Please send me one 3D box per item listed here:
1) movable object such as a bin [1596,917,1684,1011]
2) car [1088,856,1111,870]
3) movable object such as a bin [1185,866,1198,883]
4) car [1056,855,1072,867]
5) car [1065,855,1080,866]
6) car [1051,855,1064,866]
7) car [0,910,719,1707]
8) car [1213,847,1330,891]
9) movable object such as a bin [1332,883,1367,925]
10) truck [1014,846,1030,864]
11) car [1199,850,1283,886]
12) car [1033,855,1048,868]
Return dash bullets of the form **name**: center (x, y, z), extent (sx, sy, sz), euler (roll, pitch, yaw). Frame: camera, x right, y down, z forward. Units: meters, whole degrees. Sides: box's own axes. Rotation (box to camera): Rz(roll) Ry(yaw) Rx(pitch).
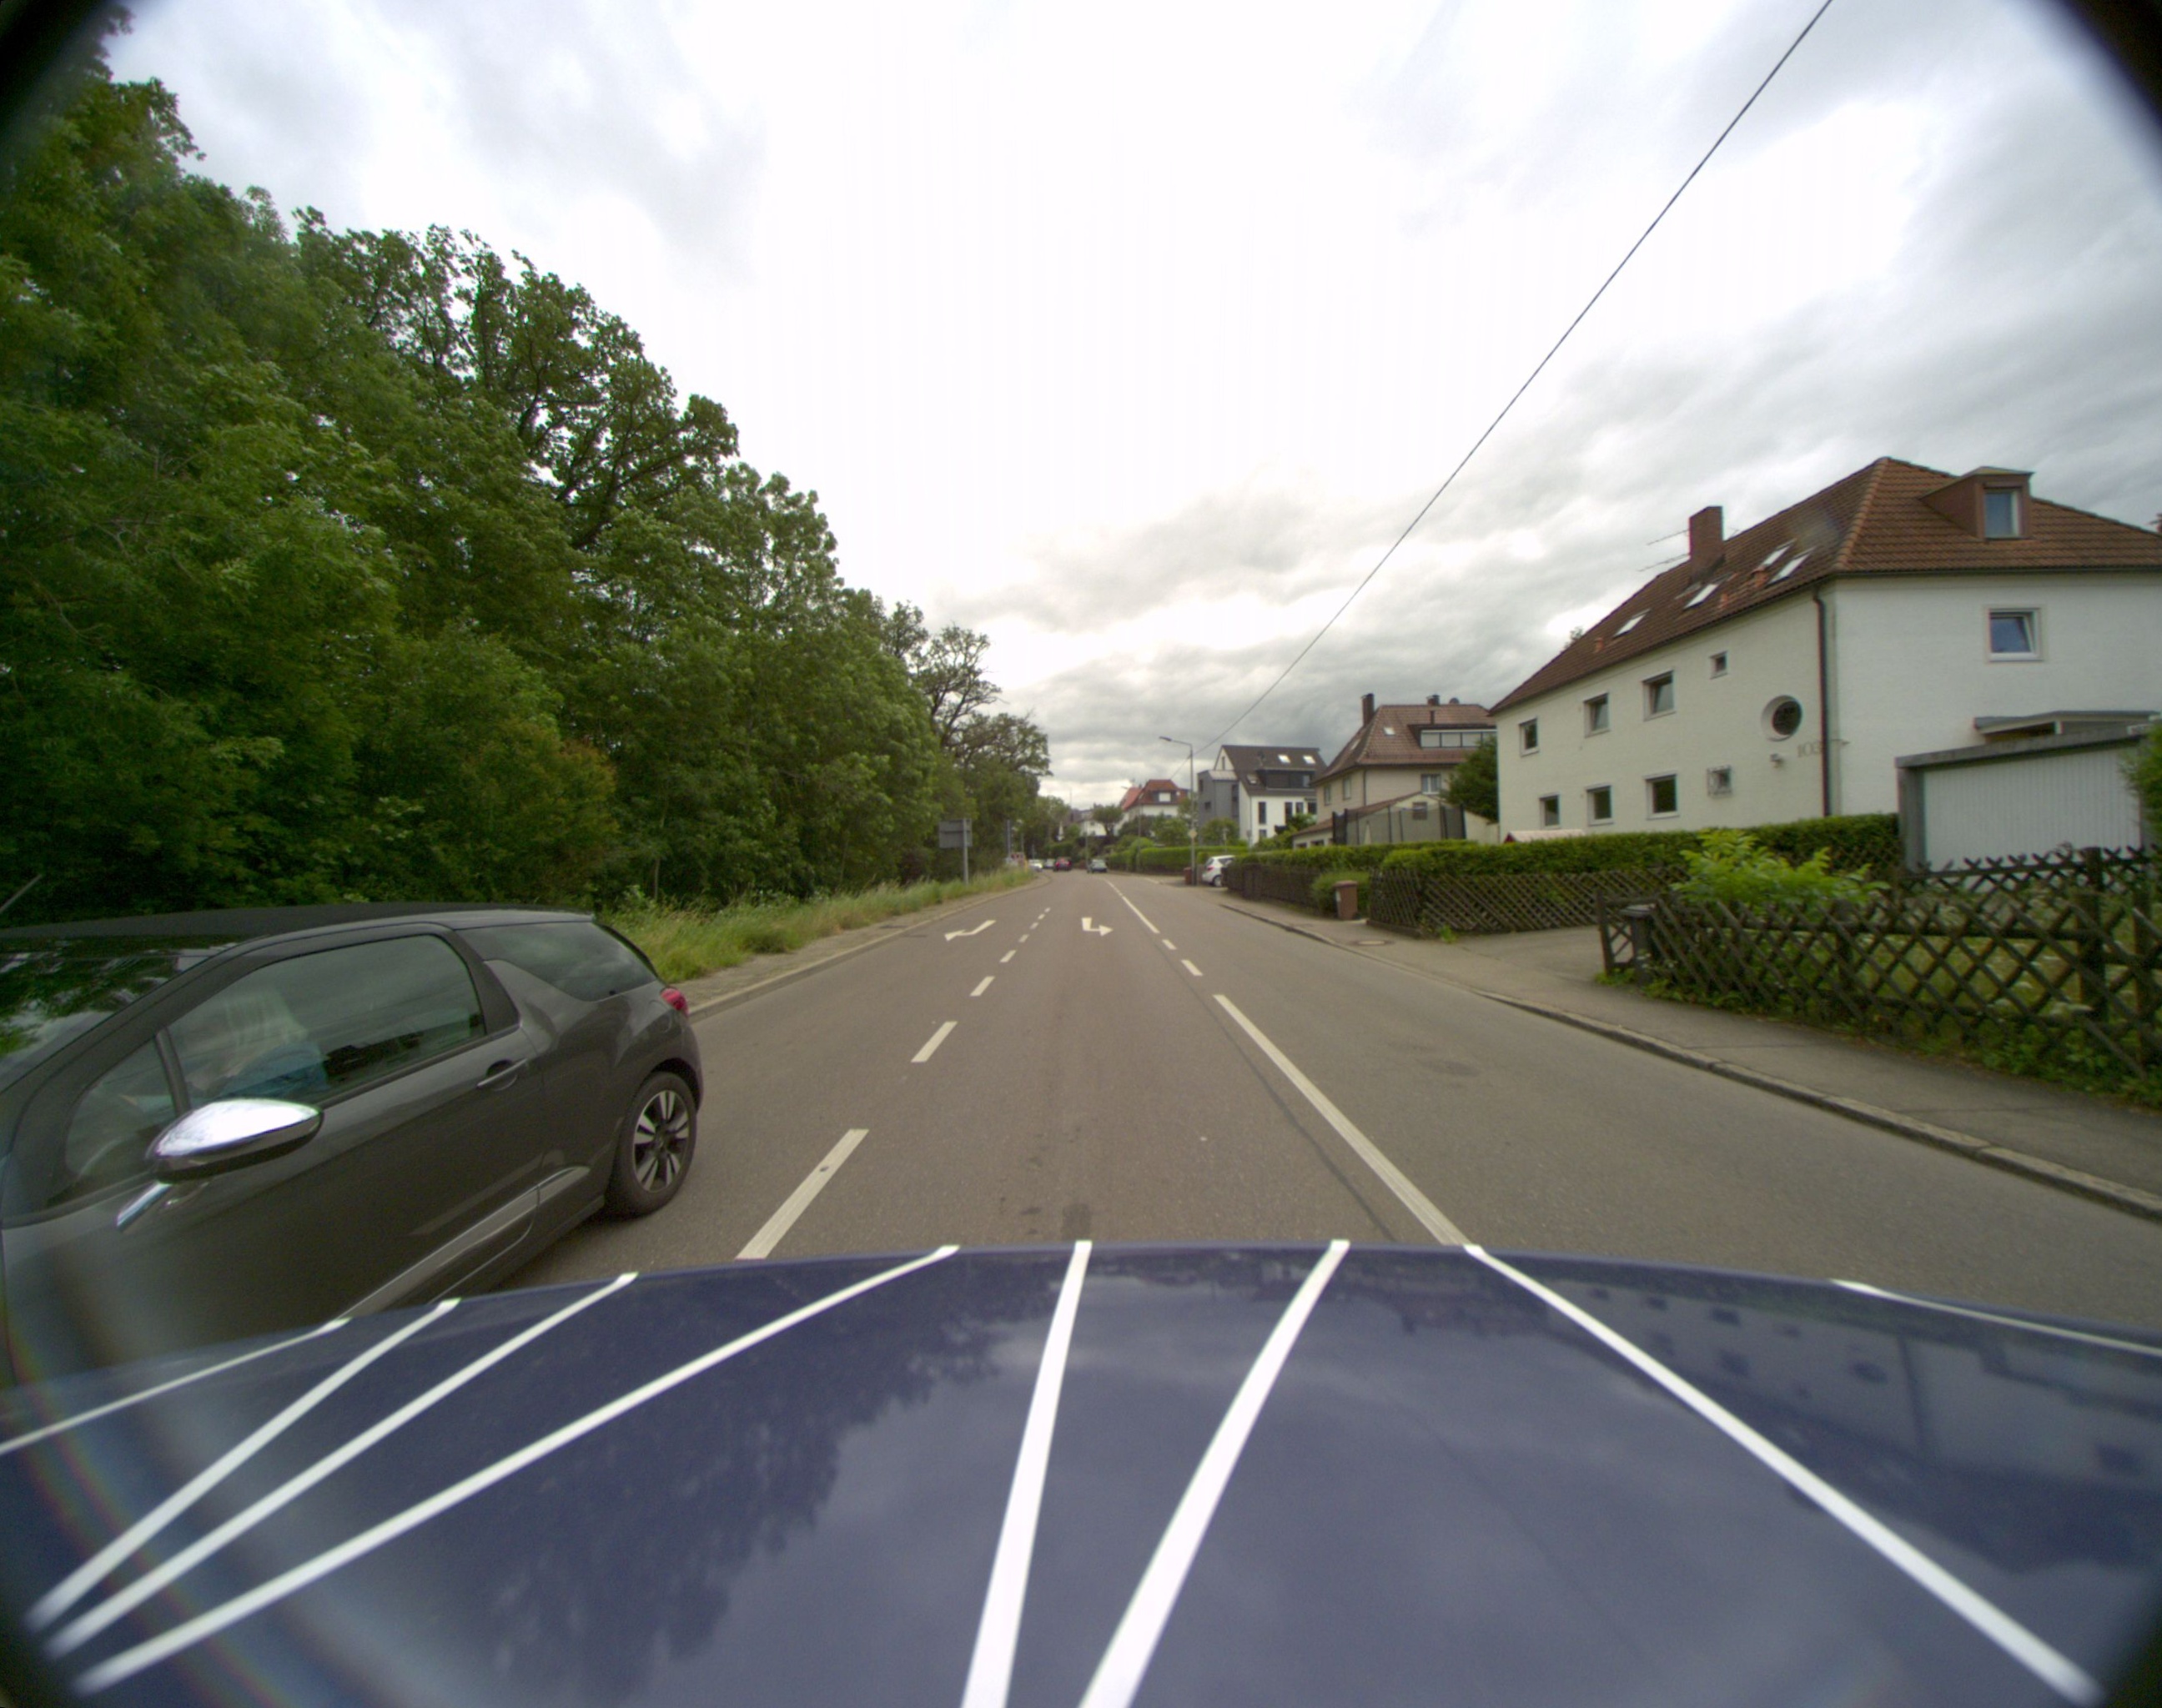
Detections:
- **movable object such as a bin**: center (5.997, 1.170, 8.173), extent (0.551, 0.932, 0.538), euler (-1, 0, 2)
- **car**: center (2.046, 1.005, 85.172), extent (1.840, 1.514, 3.997), euler (-1, 0, -9)
- **movable object such as a bin**: center (6.230, 1.154, 42.788), extent (0.689, 0.948, 0.572), euler (-1, 0, 5)
- **car**: center (-2.256, 0.890, 99.942), extent (1.818, 1.590, 3.955), euler (-1, 0, -4)
- **car**: center (-1.234, 0.899, 108.922), extent (1.876, 1.569, 3.998), euler (-1, 0, -6)
- **car**: center (-3.832, 0.978, 122.553), extent (1.833, 1.665, 3.997), euler (-1, 1, -7)
- **car**: center (-2.818, 1.044, 2.002), extent (1.730, 1.449, 3.855), euler (-2, 0, 2)
- **car**: center (8.500, 0.650, 34.179), extent (4.682, 1.660, 1.882), euler (-3, 0, -1)
- **movable object such as a bin**: center (6.224, 1.151, 17.628), extent (0.634, 0.907, 0.561), euler (-2, 0, 10)
- **truck**: center (-12.599, 0.166, 161.466), extent (3.008, 3.618, 7.083), euler (-1, 0, -8)
- **car**: center (8.326, 0.719, 39.742), extent (3.997, 1.584, 1.718), euler (-3, 0, 1)
- **car**: center (-5.608, 1.041, 105.243), extent (1.999, 1.565, 3.999), euler (-3, 0, -2)
